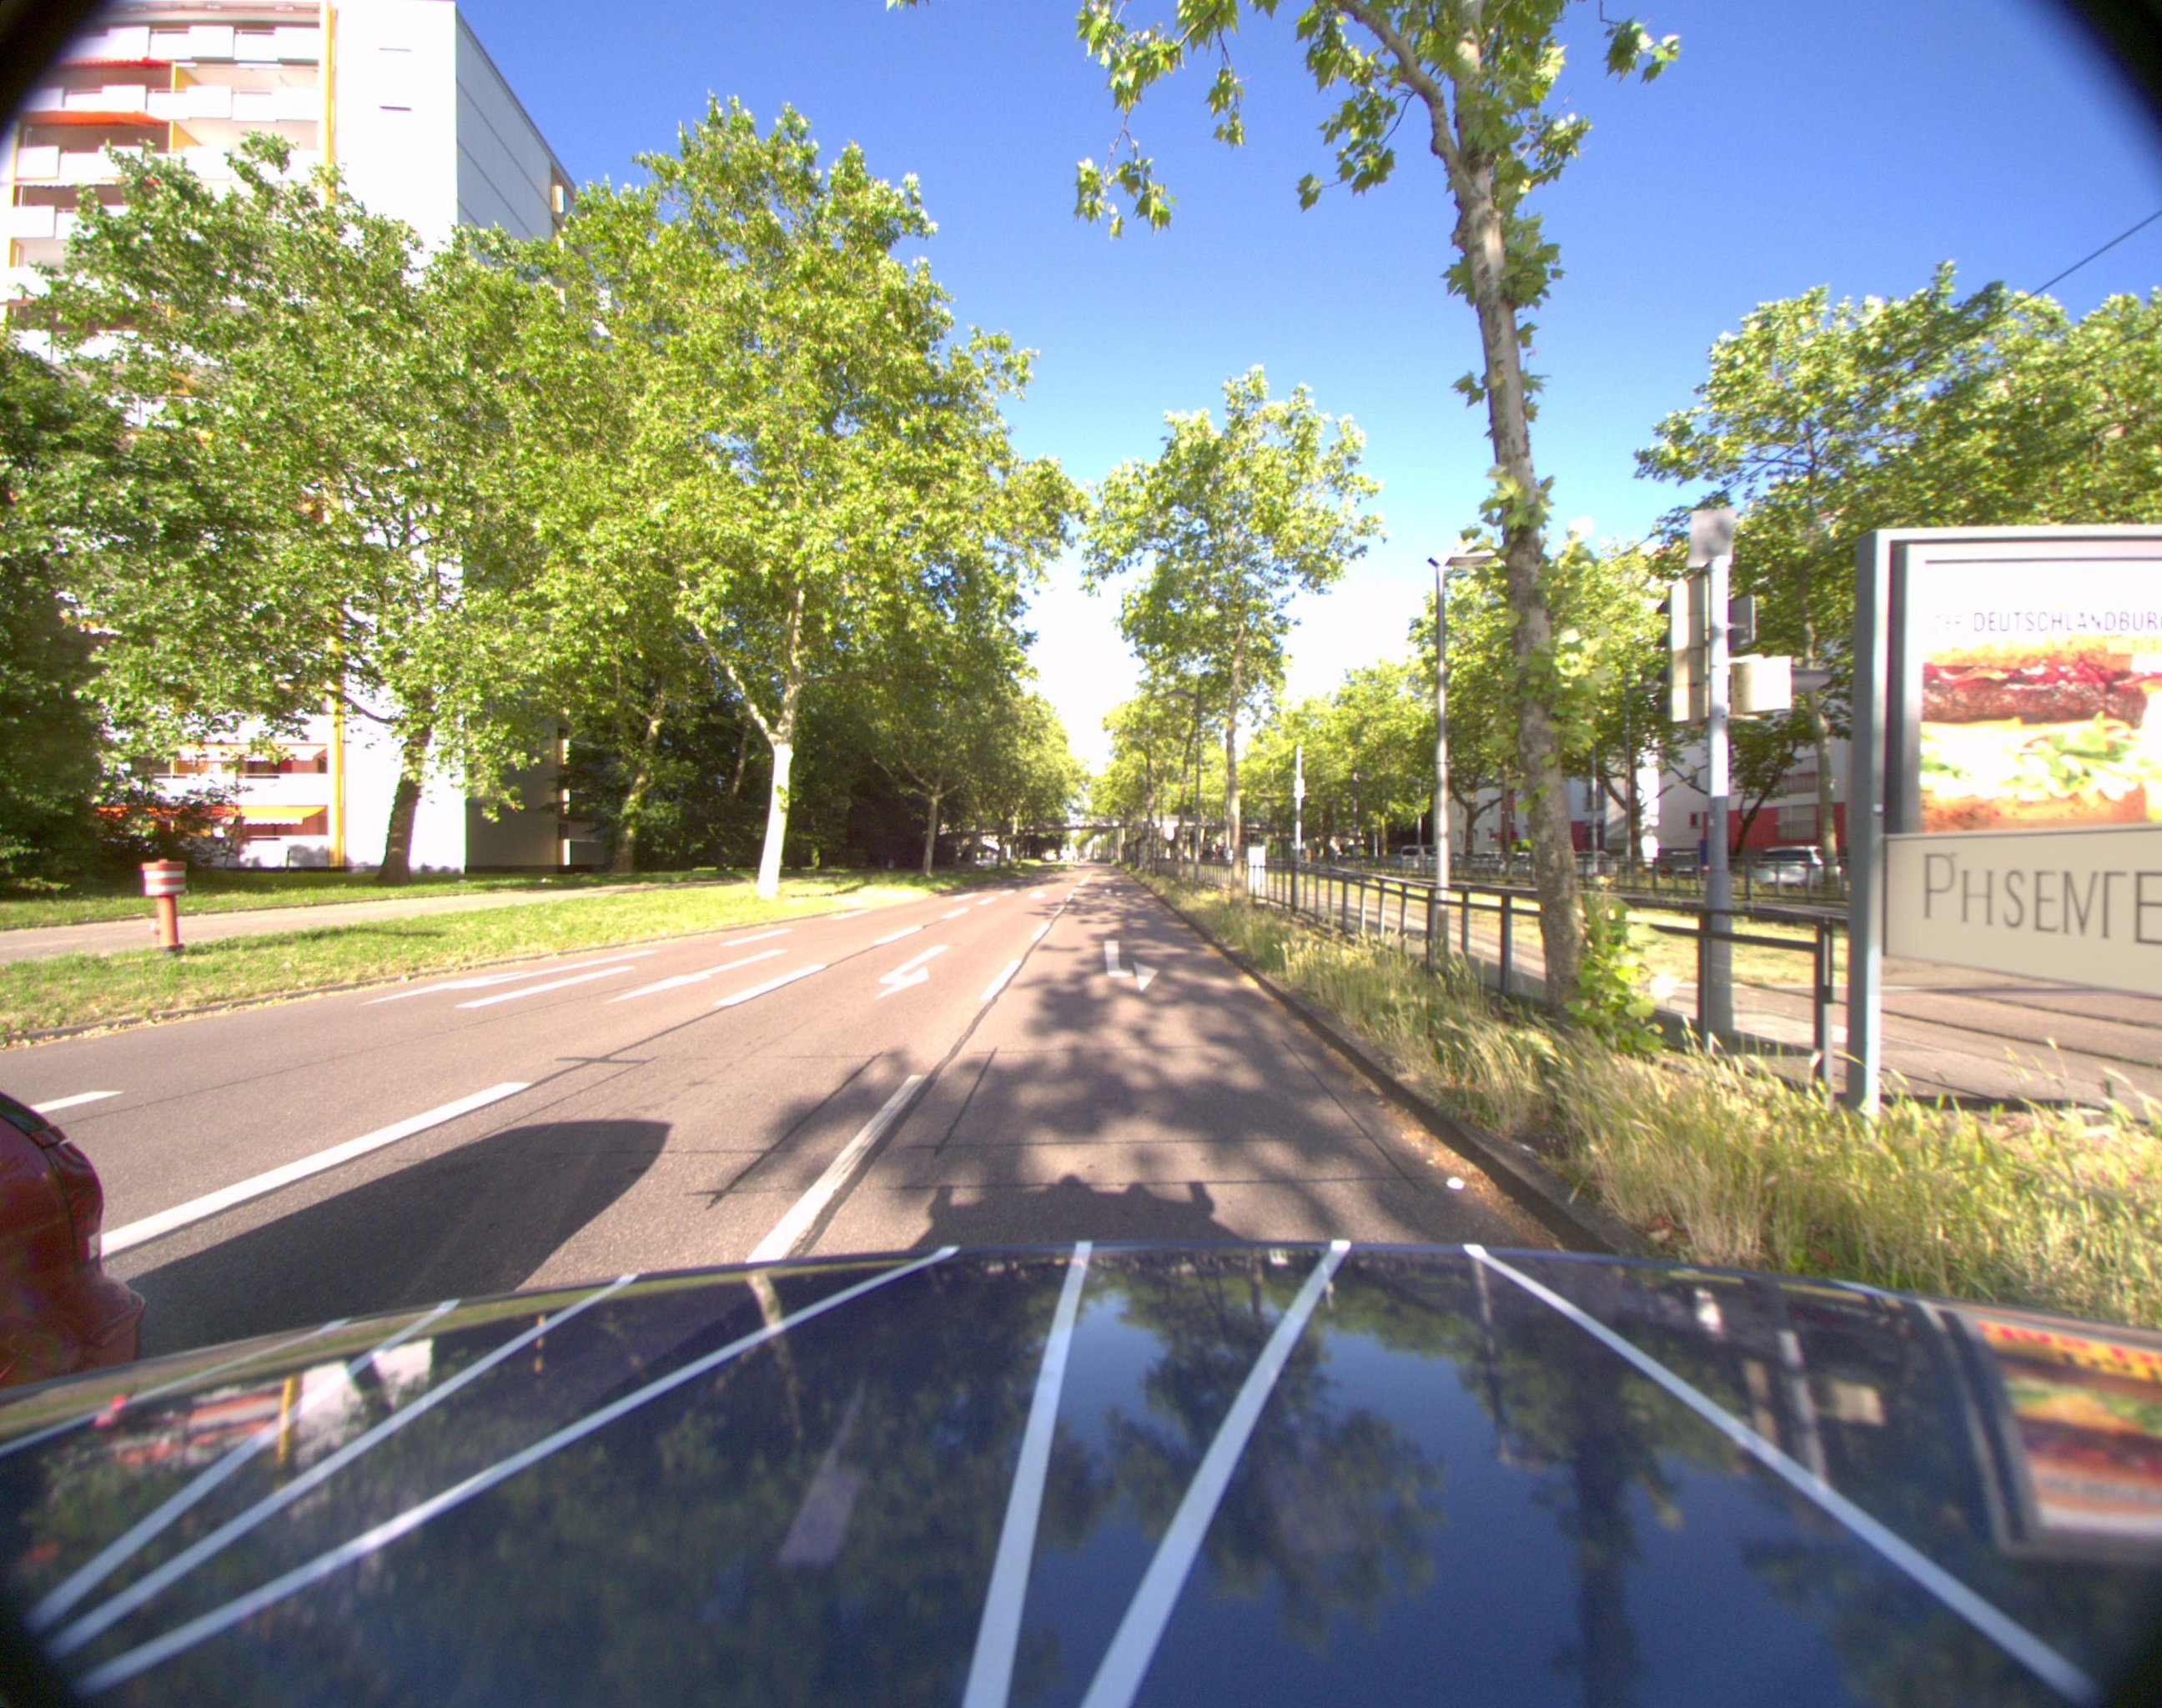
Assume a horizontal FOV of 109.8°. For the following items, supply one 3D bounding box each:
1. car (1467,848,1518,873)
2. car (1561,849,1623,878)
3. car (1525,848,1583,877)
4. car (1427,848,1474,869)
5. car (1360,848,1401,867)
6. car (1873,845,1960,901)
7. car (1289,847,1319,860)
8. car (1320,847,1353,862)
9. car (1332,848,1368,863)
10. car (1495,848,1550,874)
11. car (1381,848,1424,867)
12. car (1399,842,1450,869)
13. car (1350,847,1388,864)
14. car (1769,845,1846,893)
[{"bbox_3d":[25.850,0.402,47.685,3.811,1.433,1.652,-2,0,-42],"label":"car"},{"bbox_3d":[25.382,0.451,37.704,3.811,1.348,1.652,-2,0,-42],"label":"car"},{"bbox_3d":[25.863,0.447,41.485,3.811,1.433,1.652,-2,0,-42],"label":"car"},{"bbox_3d":[26.301,0.315,54.038,3.811,1.433,1.652,-2,0,-42],"label":"car"},{"bbox_3d":[24.943,0.277,63.215,3.811,1.433,1.652,-2,0,-42],"label":"car"},{"bbox_3d":[25.243,0.527,22.973,3.811,1.501,1.652,-2,0,-42],"label":"car"},{"bbox_3d":[26.438,-0.041,89.981,3.811,1.433,1.652,-2,0,-42],"label":"car"},{"bbox_3d":[26.786,0.051,79.632,3.811,1.433,1.652,-2,0,-42],"label":"car"},{"bbox_3d":[26.065,0.139,73.571,3.811,1.433,1.652,-2,0,-42],"label":"car"},{"bbox_3d":[26.098,0.411,44.870,3.811,1.433,1.652,-2,0,-42],"label":"car"},{"bbox_3d":[25.729,0.274,60.758,3.811,1.433,1.652,-2,0,-42],"label":"car"},{"bbox_3d":[25.818,0.094,57.036,4.330,1.863,1.836,-2,0,-42],"label":"car"},{"bbox_3d":[26.619,0.140,70.140,3.811,1.433,1.652,-2,0,-42],"label":"car"},{"bbox_3d":[25.357,0.492,26.482,3.811,1.501,1.652,-2,0,-42],"label":"car"}]
